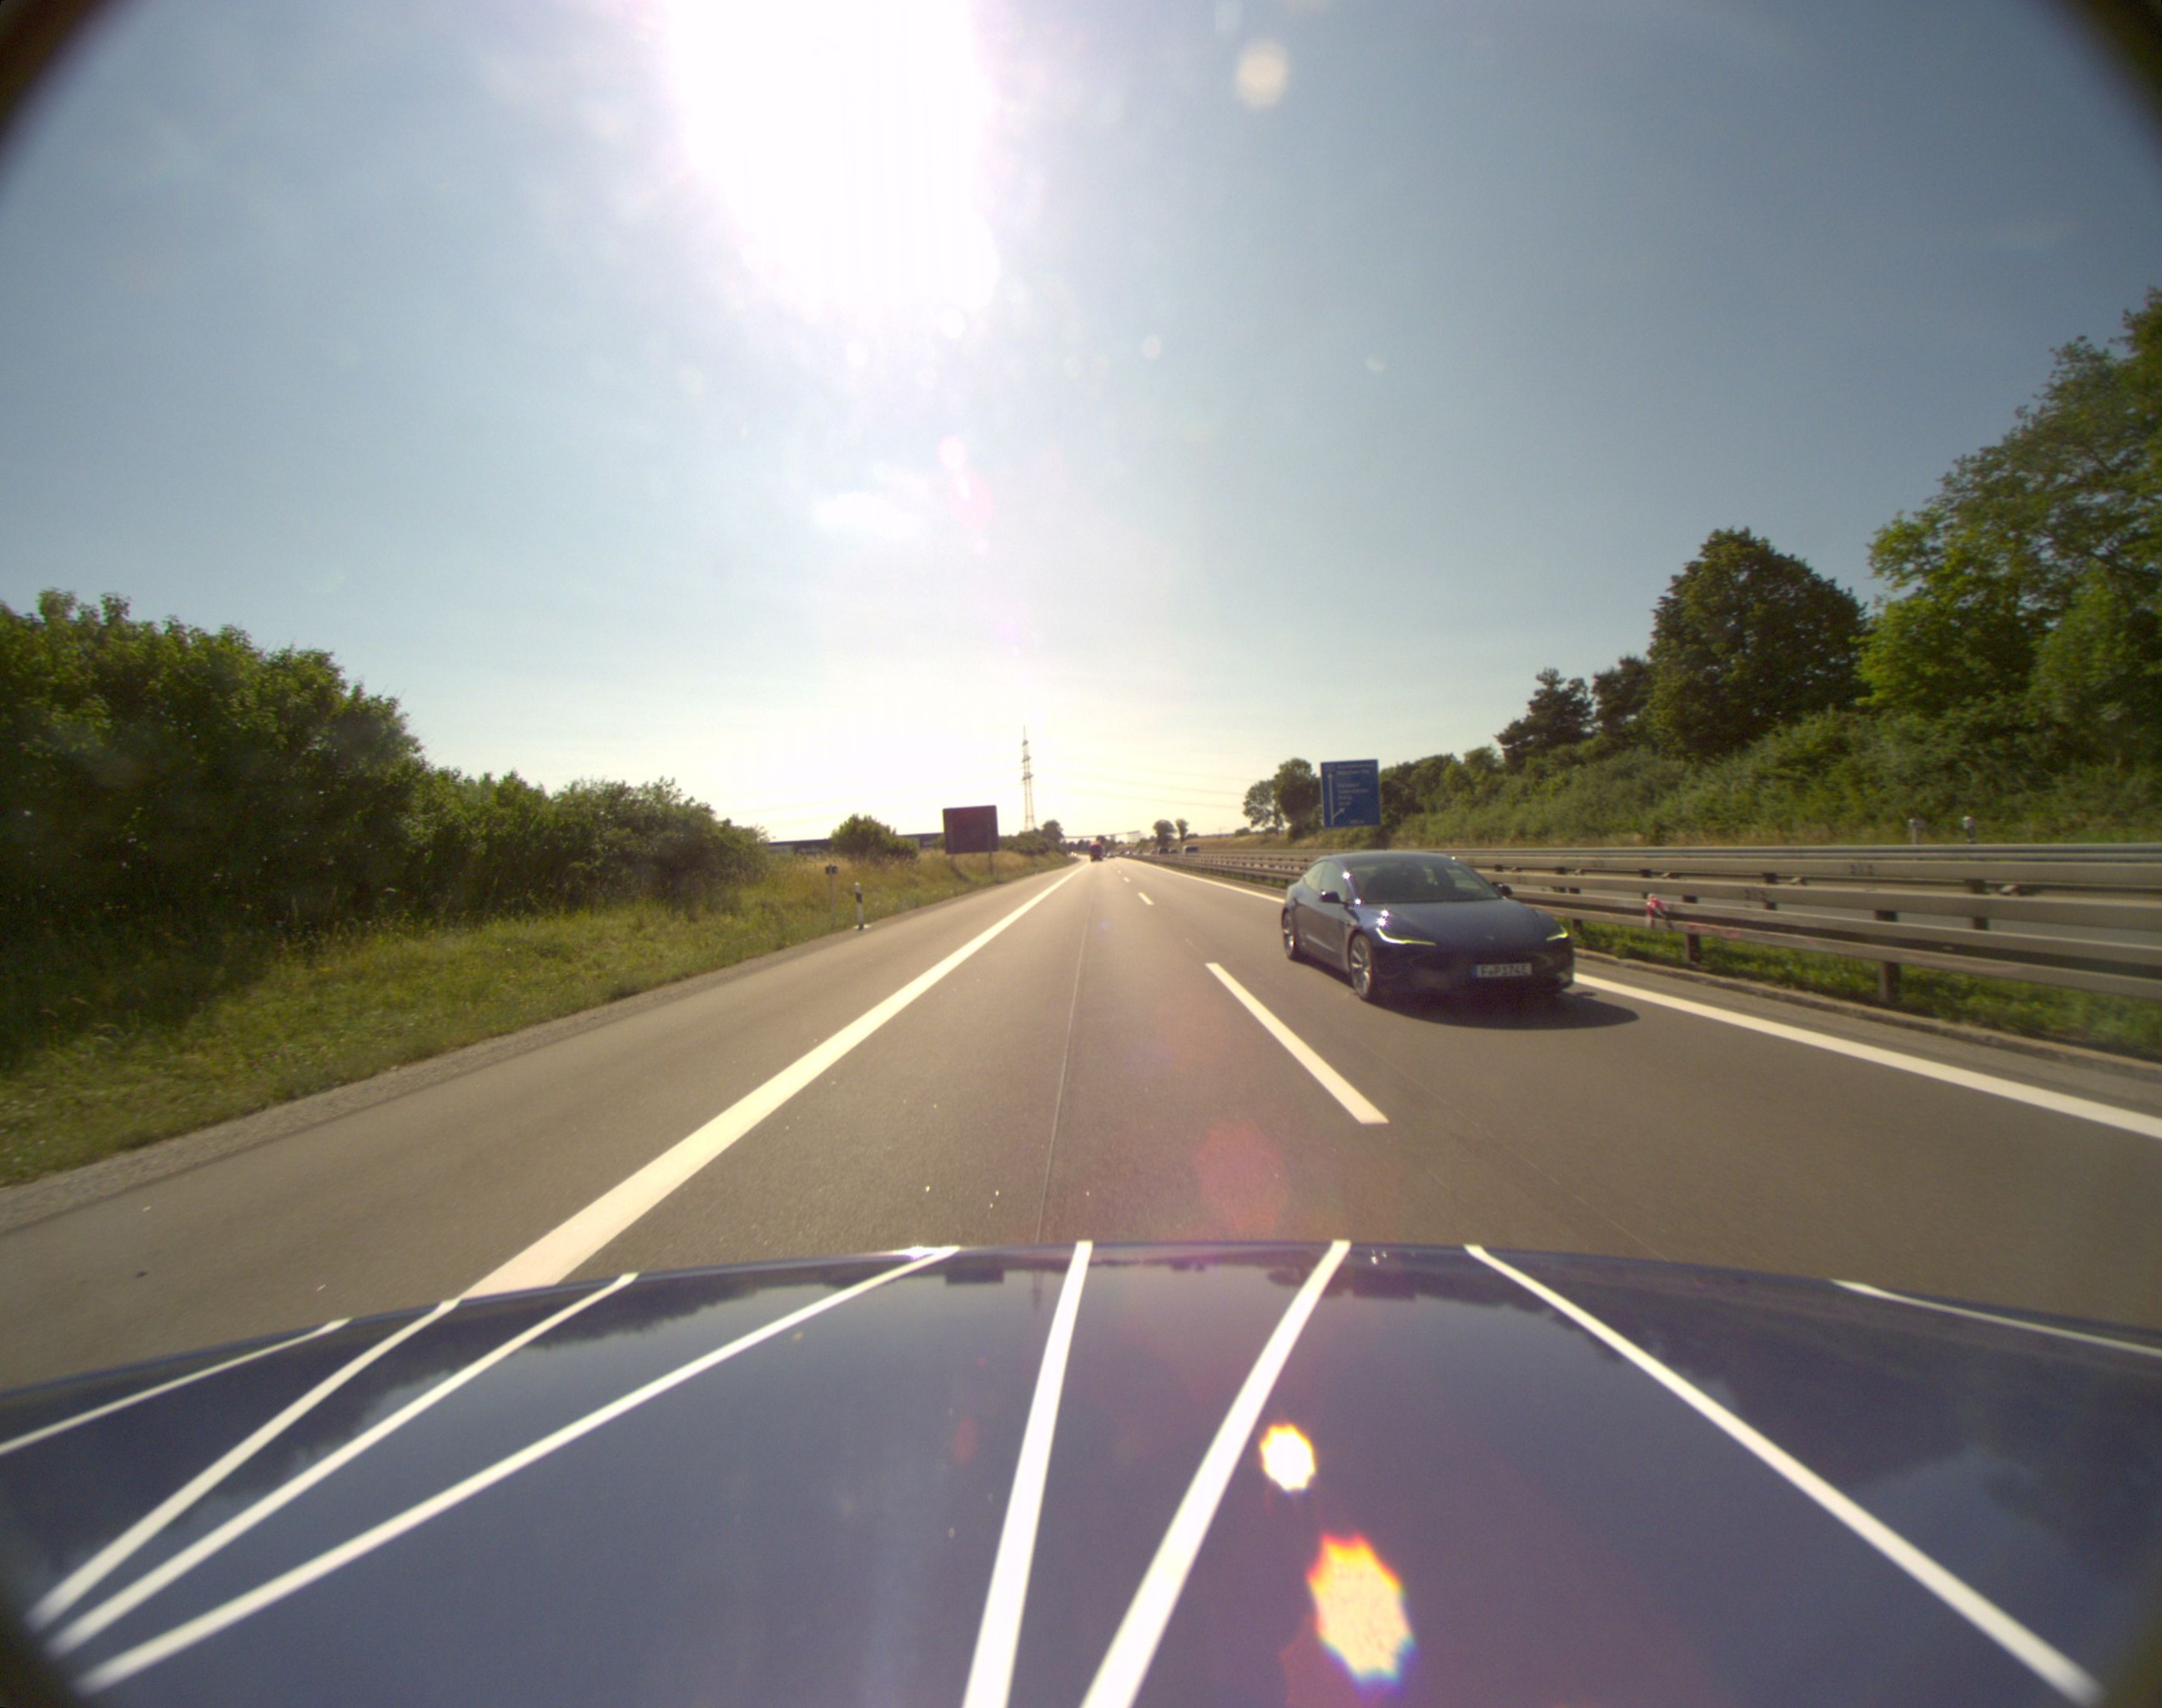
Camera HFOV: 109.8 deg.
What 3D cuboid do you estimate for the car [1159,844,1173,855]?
[{"bbox_3d":[15.555,-0.842,138.964,1.998,1.961,5.039,-3,0,2],"label":"car"}]

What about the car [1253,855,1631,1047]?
[{"bbox_3d":[3.554,0.791,9.030,1.852,1.424,5.866,-2,0,2],"label":"car"}]

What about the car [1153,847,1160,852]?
[{"bbox_3d":[20.661,-1.201,208.609,1.526,1.344,4.232,-4,0,2],"label":"car"}]

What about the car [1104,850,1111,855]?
[{"bbox_3d":[7.986,-0.548,229.273,1.860,1.361,4.000,-2,1,1],"label":"car"}]

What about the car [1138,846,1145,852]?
[{"bbox_3d":[20.441,-1.768,256.560,1.950,1.834,5.184,-4,0,2],"label":"car"}]

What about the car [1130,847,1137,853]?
[{"bbox_3d":[16.714,-1.255,242.096,1.950,1.560,4.587,-4,0,2],"label":"car"}]

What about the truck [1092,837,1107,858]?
[{"bbox_3d":[3.663,-1.364,152.782,2.570,3.939,8.643,-5,1,1],"label":"truck"}]

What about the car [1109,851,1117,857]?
[{"bbox_3d":[8.009,-0.035,190.094,1.860,1.361,4.000,-2,1,1],"label":"car"}]

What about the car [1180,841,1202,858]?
[{"bbox_3d":[14.183,-0.611,98.164,1.998,1.978,5.691,-3,0,1],"label":"car"}]

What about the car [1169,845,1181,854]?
[{"bbox_3d":[19.499,-0.942,157.651,1.998,1.602,4.487,-3,0,2],"label":"car"}]
